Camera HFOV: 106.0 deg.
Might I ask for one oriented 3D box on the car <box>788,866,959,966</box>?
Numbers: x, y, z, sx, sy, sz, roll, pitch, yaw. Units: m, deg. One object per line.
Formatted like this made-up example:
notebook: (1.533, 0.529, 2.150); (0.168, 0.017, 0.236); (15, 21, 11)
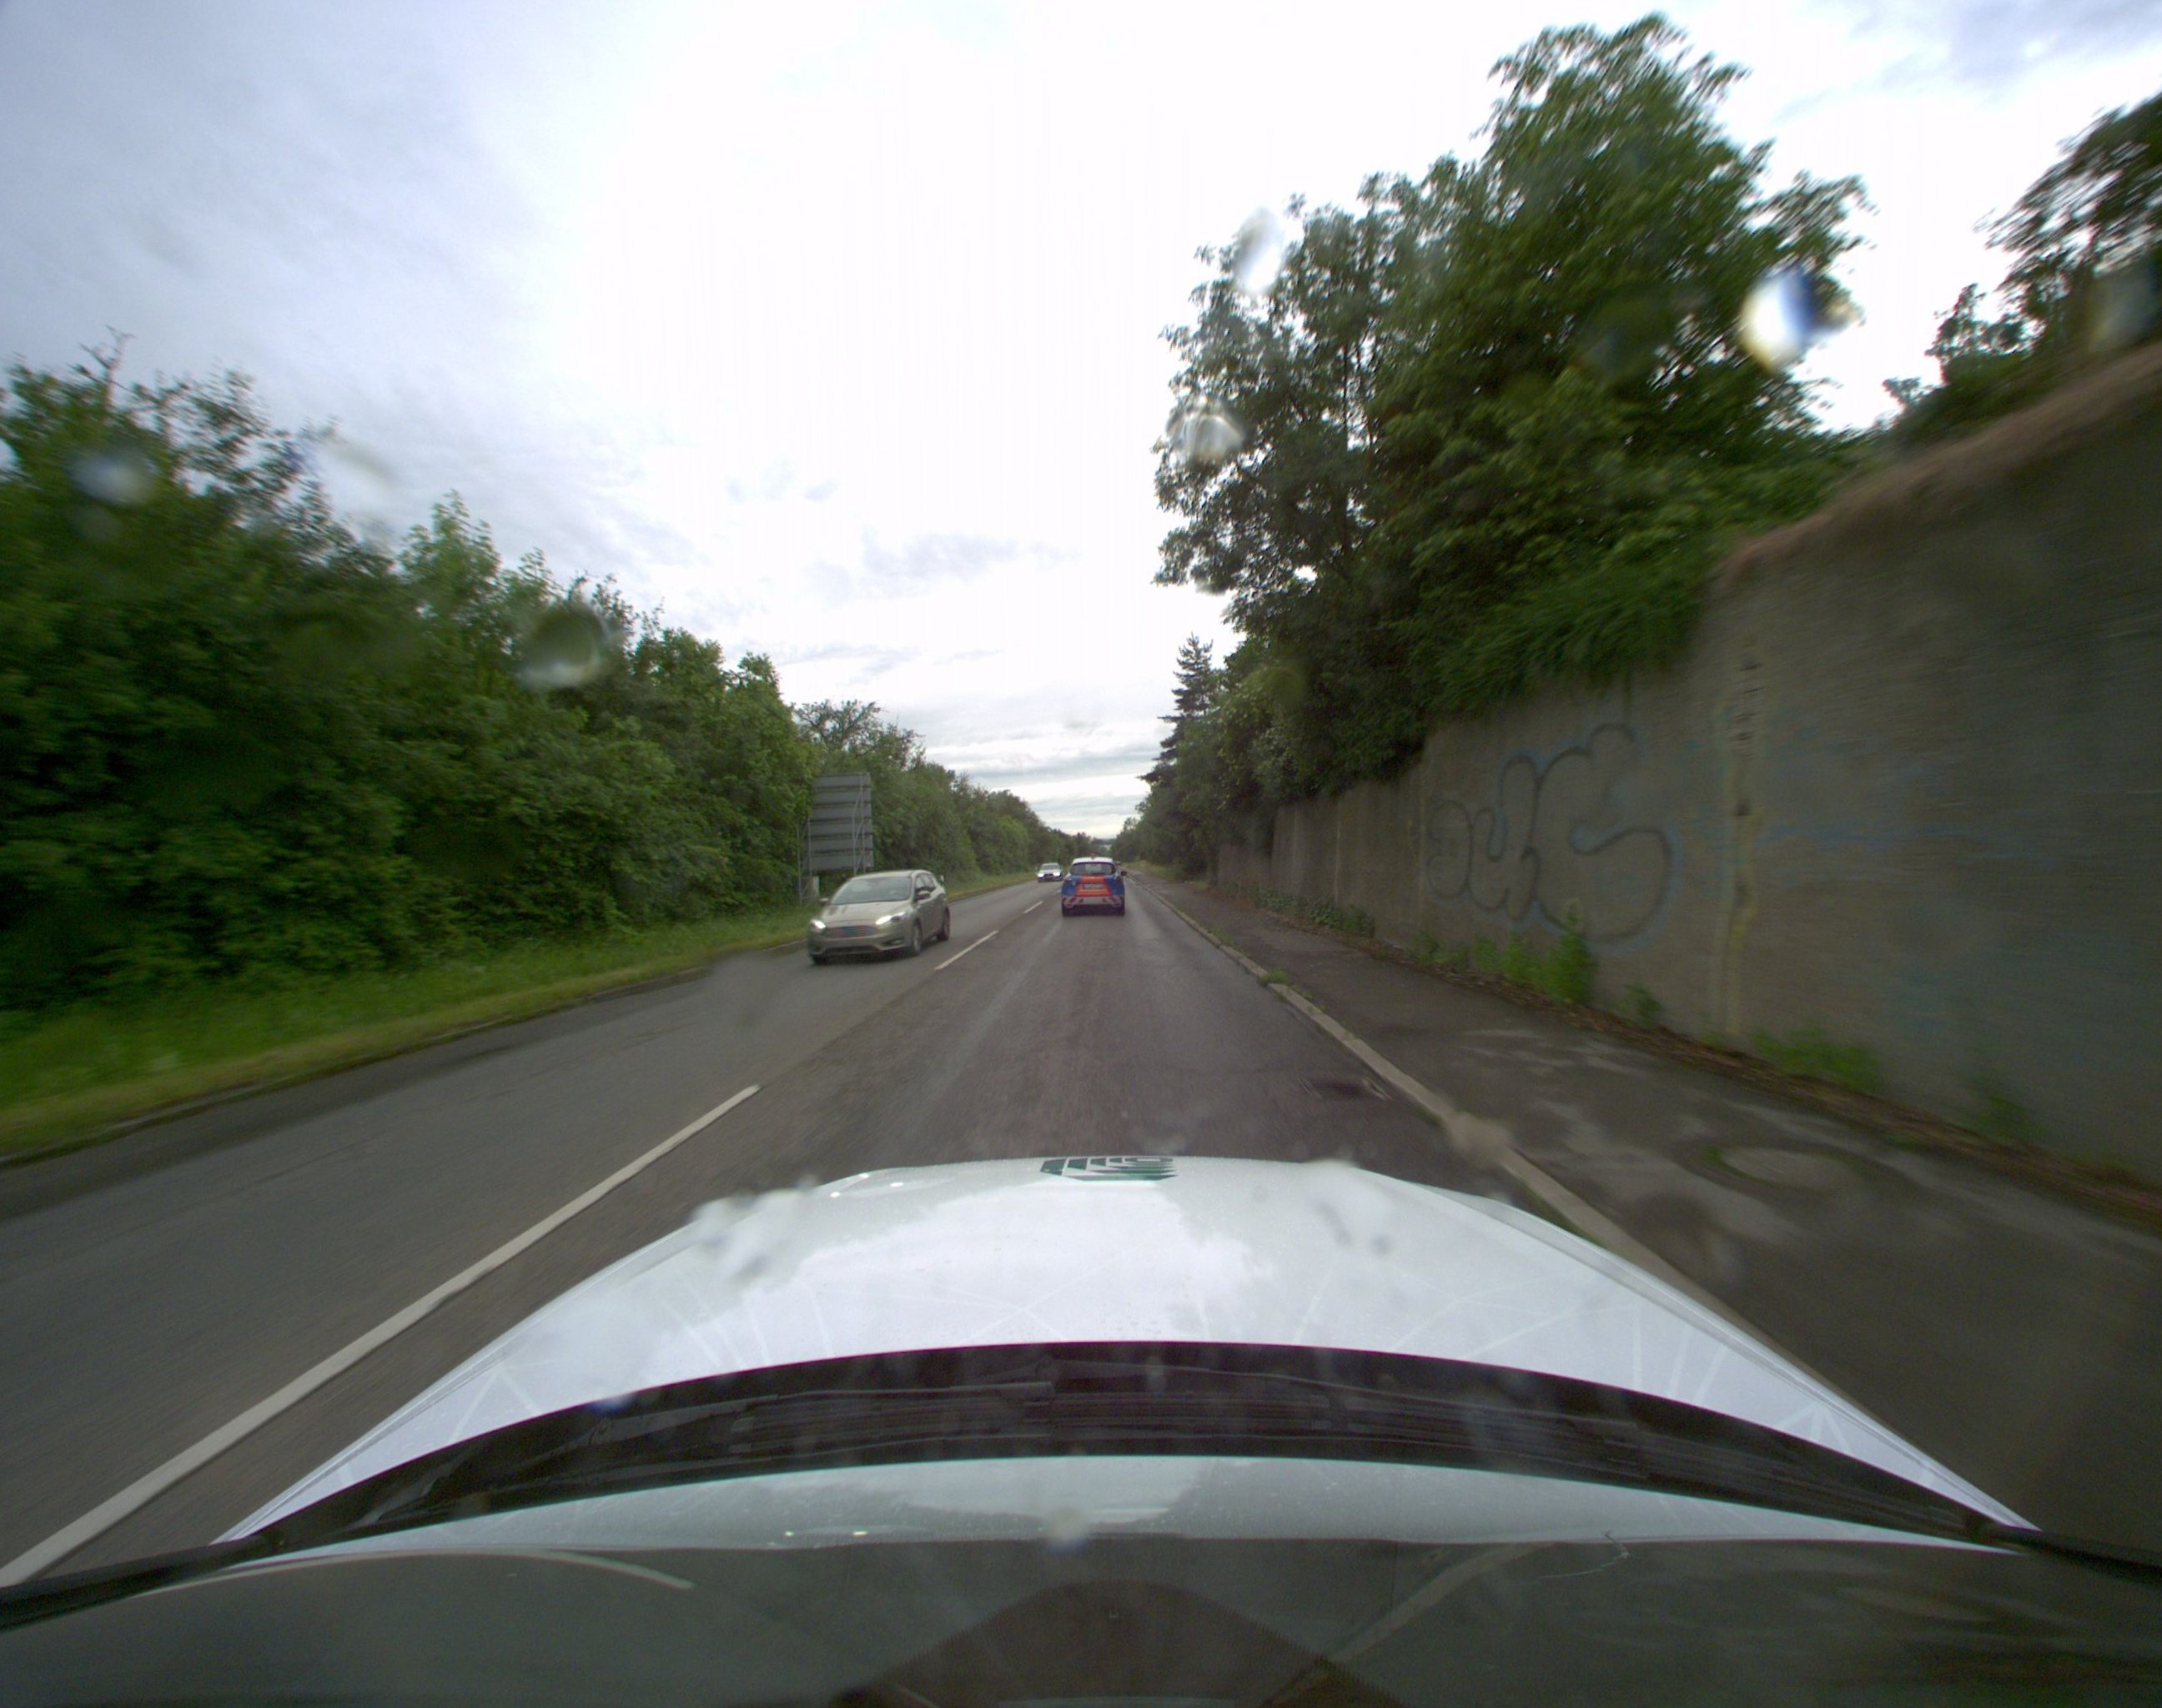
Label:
car: (-3.573, 1.010, 14.931); (1.818, 1.420, 4.321); (-3, 0, 2)

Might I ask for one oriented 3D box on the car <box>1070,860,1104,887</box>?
car: (0.357, 0.992, 42.268); (1.592, 1.287, 3.478); (-3, -1, 2)

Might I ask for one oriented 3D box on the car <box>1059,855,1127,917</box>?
car: (0.374, 0.834, 23.097); (1.745, 1.555, 3.794); (-1, 0, 2)

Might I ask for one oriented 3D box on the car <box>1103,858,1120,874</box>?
car: (3.615, 1.405, 96.611); (1.767, 1.625, 4.000); (-4, 0, 1)

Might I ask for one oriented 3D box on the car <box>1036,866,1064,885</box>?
car: (-2.403, 1.620, 63.200); (1.884, 1.354, 4.382); (-2, -1, 1)
